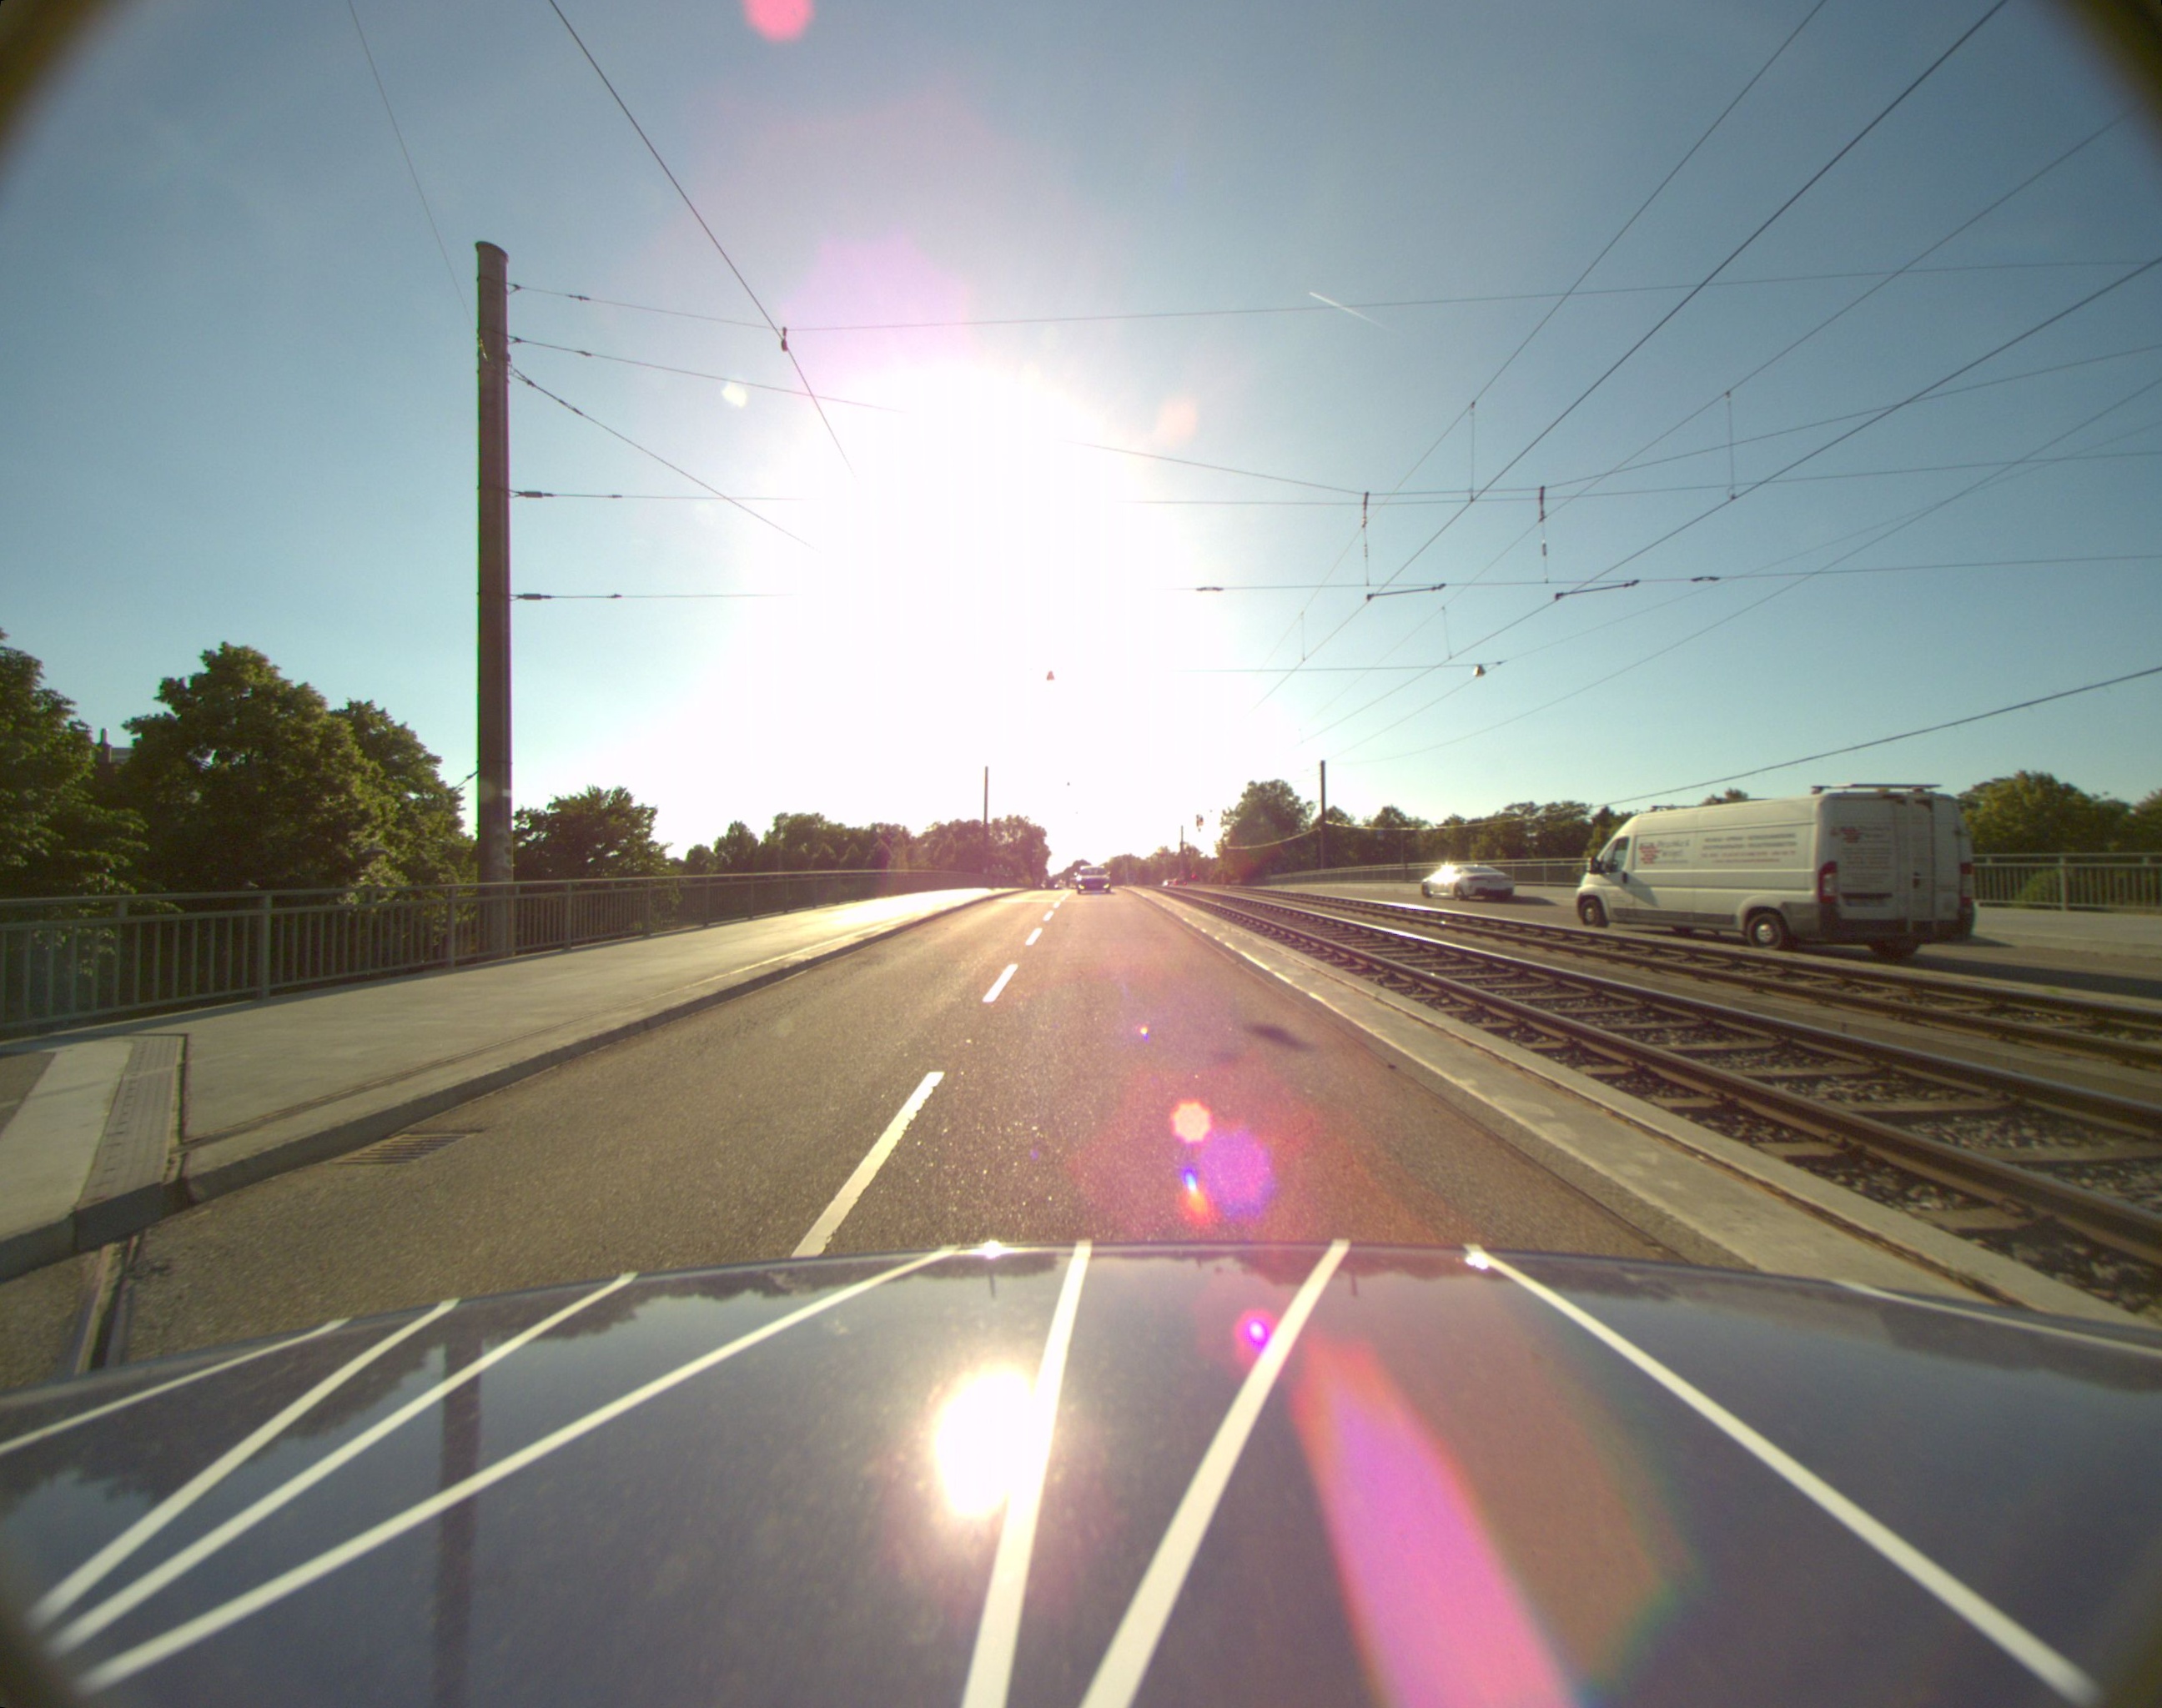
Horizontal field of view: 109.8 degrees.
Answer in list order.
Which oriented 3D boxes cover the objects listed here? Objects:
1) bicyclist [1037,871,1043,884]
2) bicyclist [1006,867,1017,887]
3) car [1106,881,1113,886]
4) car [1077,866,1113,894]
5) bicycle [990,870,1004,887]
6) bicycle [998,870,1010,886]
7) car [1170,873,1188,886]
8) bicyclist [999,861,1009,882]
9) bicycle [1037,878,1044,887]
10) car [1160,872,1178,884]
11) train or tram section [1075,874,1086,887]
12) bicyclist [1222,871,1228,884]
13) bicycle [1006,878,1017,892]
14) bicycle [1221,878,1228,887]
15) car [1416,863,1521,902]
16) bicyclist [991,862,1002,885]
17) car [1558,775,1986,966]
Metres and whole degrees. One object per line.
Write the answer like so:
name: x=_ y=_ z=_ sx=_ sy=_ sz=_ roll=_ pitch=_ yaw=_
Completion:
bicyclist: x=-5.397 y=3.123 z=100.618 sx=0.733 sy=1.679 sz=1.202 roll=-4 pitch=-2 yaw=-3
bicyclist: x=-5.567 y=1.868 z=61.033 sx=0.814 sy=1.552 sz=0.897 roll=-2 pitch=-3 yaw=0
car: x=8.829 y=9.162 z=237.012 sx=1.853 sy=1.493 sz=4.220 roll=-1 pitch=-2 yaw=1
car: x=0.697 y=1.375 z=39.653 sx=1.802 sy=1.344 sz=4.001 roll=0 pitch=-2 yaw=0
bicycle: x=-5.804 y=1.718 z=52.390 sx=0.626 sy=1.115 sz=2.261 roll=-2 pitch=-2 yaw=2
bicycle: x=-5.705 y=1.782 z=56.624 sx=0.626 sy=1.115 sz=2.042 roll=-2 pitch=-2 yaw=0
car: x=12.435 y=3.239 z=96.281 sx=1.812 sy=1.510 sz=4.002 roll=0 pitch=-3 yaw=1
bicyclist: x=-5.755 y=1.299 z=56.618 sx=0.626 sy=1.582 sz=0.931 roll=-2 pitch=-1 yaw=0
bicycle: x=-5.341 y=3.752 z=100.575 sx=0.733 sy=1.115 sz=2.742 roll=-4 pitch=-2 yaw=-3
car: x=12.603 y=3.436 z=108.565 sx=2.006 sy=1.627 sz=5.092 roll=-1 pitch=-2 yaw=1
train or tram section: x=-0.167 y=8.603 z=244.286 sx=2.570 sy=3.876 sz=11.671 roll=-1 pitch=-2 yaw=-4
bicyclist: x=18.800 y=3.113 z=99.500 sx=0.626 sy=1.623 sz=0.936 roll=-2 pitch=-1 yaw=4
bicycle: x=-5.560 y=2.500 z=60.987 sx=0.685 sy=1.115 sz=2.217 roll=-2 pitch=-3 yaw=0
bicycle: x=18.820 y=3.769 z=99.503 sx=0.626 sy=1.115 sz=2.261 roll=-2 pitch=-2 yaw=4
car: x=15.220 y=1.071 z=30.186 sx=1.688 sy=1.348 sz=4.920 roll=1 pitch=0 yaw=1
bicyclist: x=-5.820 y=1.344 z=52.361 sx=0.626 sy=1.499 sz=1.006 roll=-2 pitch=-2 yaw=2
car: x=11.453 y=0.260 z=13.536 sx=2.092 sy=2.577 sz=6.041 roll=-2 pitch=-1 yaw=0
